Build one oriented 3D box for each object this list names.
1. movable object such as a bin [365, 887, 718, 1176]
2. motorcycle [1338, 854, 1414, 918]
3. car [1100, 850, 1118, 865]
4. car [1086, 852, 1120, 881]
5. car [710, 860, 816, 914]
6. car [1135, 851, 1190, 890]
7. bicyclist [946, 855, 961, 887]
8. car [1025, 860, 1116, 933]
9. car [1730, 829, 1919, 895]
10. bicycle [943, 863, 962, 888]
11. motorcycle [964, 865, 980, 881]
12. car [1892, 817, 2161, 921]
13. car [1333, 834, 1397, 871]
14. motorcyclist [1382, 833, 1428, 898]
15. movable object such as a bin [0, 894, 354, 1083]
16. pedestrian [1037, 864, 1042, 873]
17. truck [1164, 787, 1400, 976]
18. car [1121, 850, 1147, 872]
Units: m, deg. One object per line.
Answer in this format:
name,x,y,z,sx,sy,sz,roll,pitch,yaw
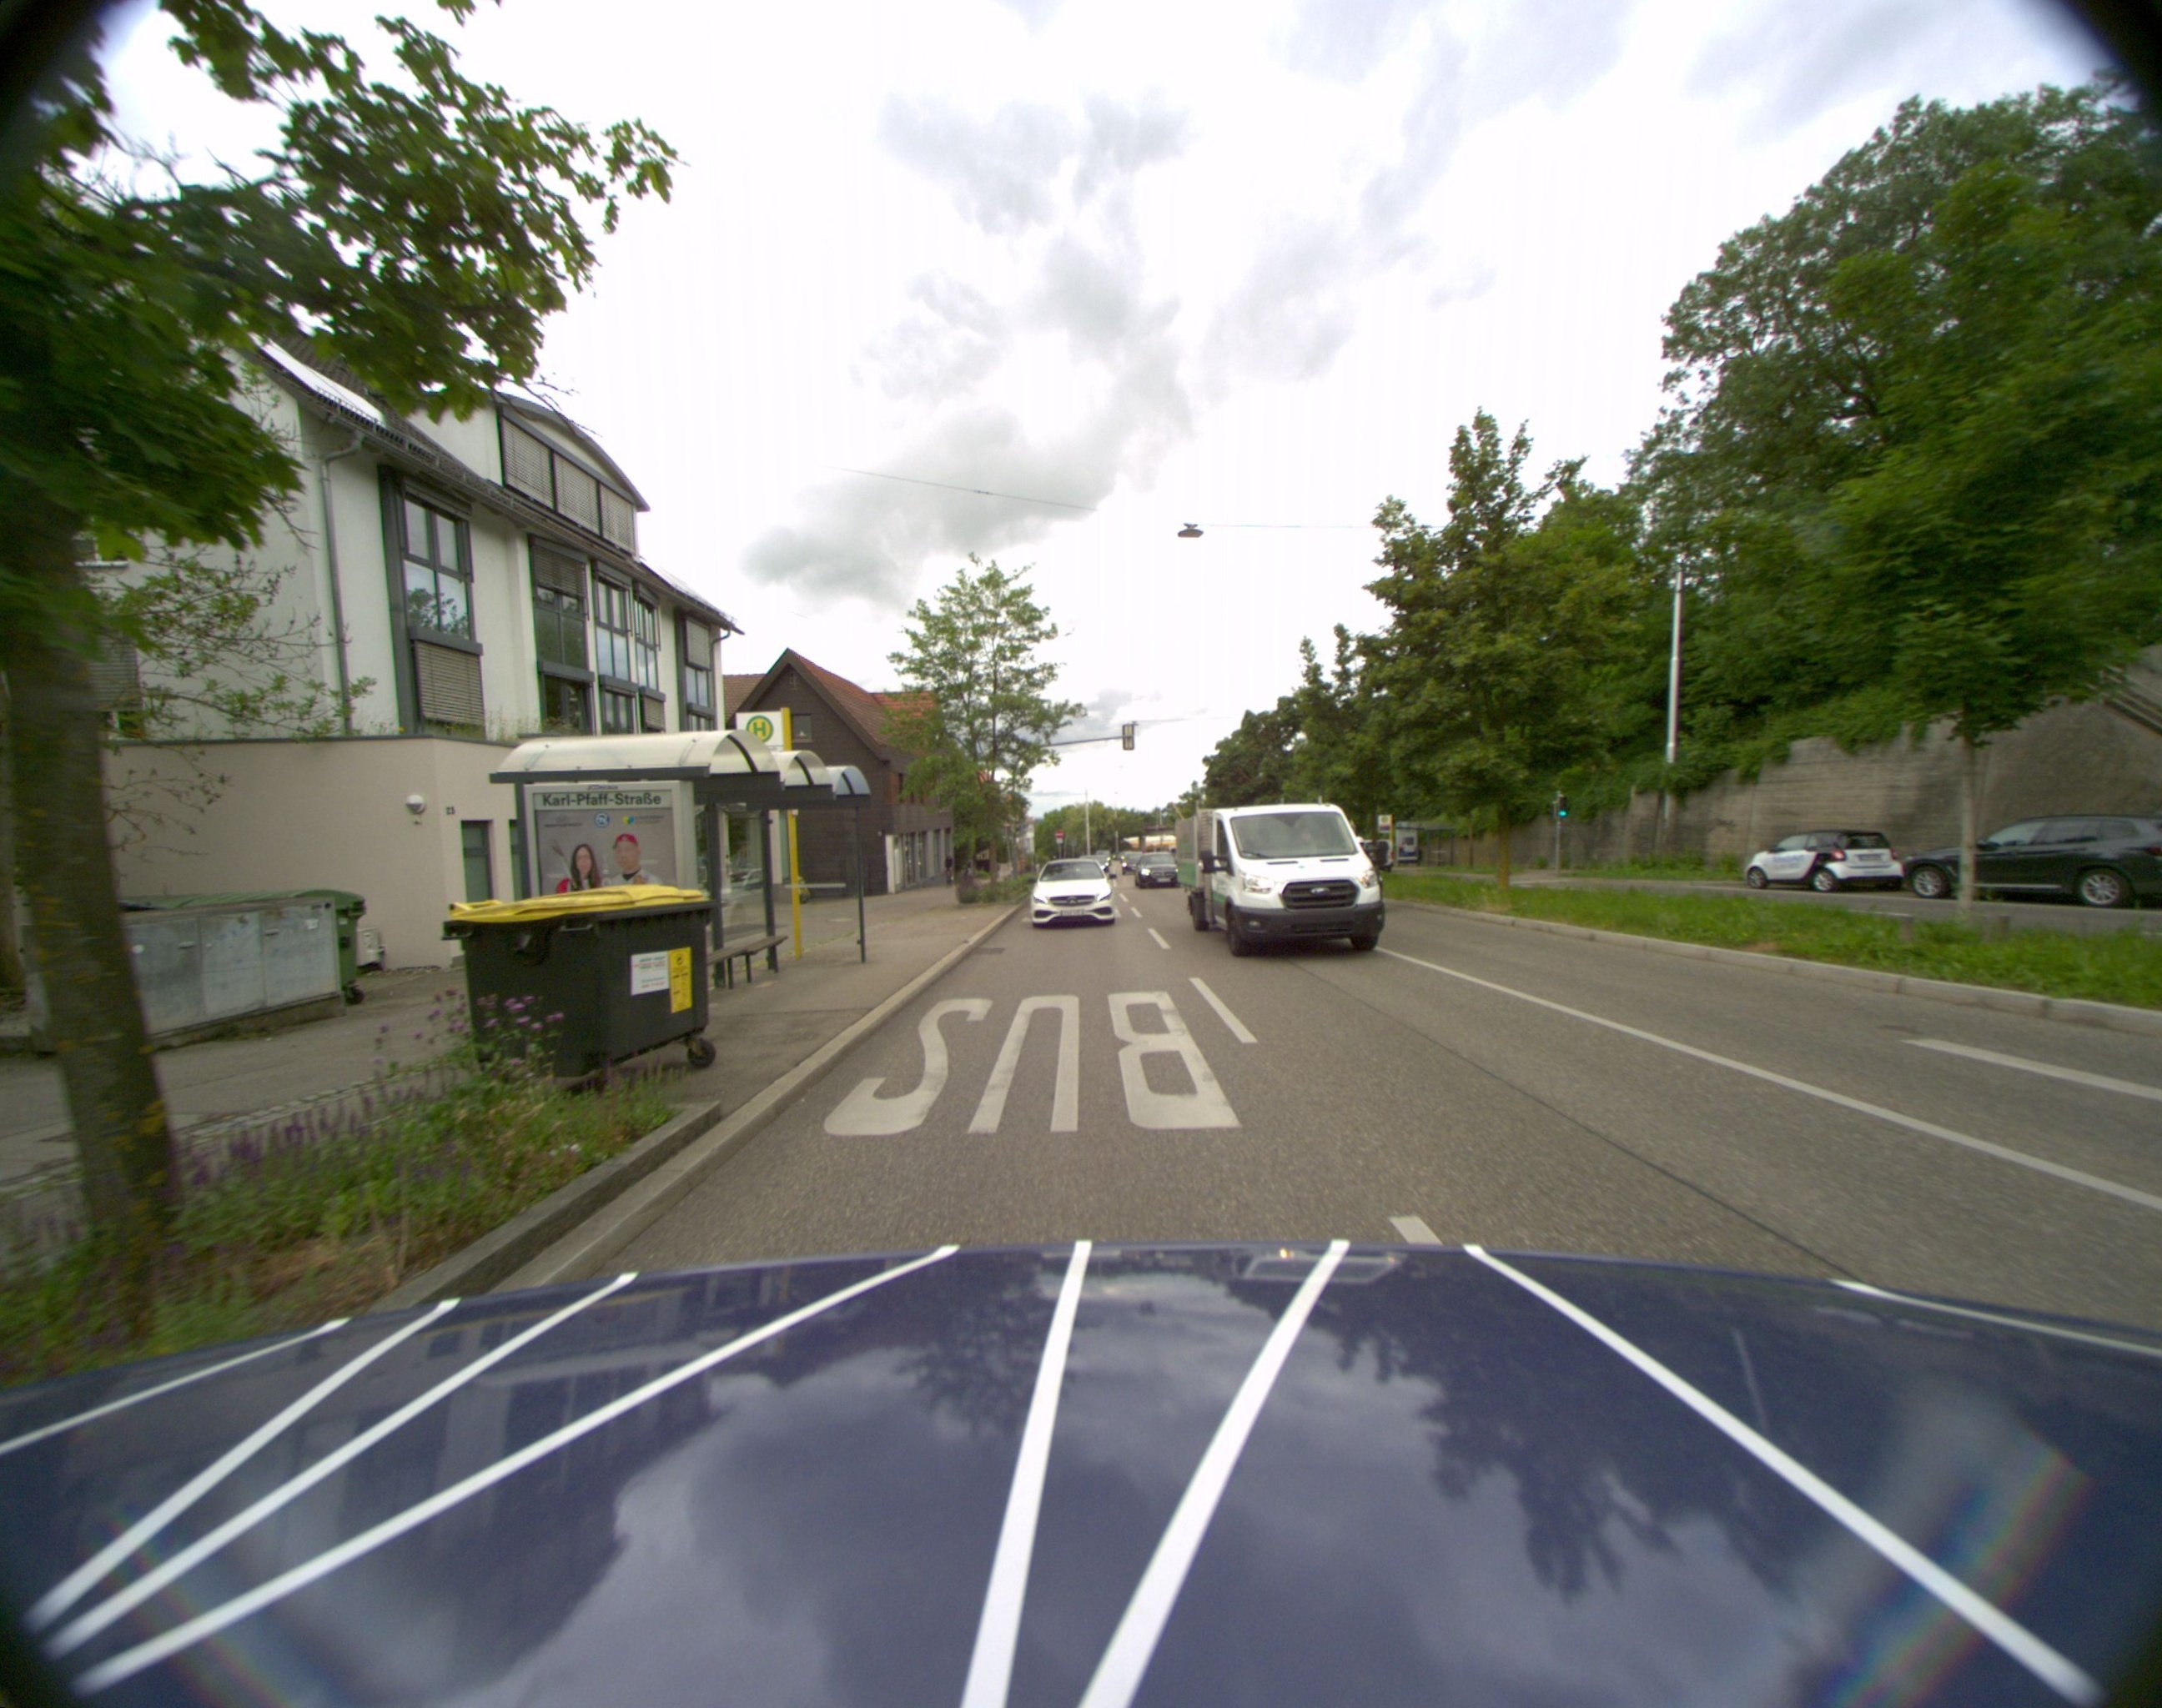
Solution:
movable object such as a bin,-3.297,0.999,4.892,1.088,1.473,1.537,-2,0,2
motorcycle,6.434,0.661,16.696,0.829,1.291,2.045,-2,0,0
car,3.417,0.407,92.011,1.776,1.783,4.003,-1,0,8
car,1.313,0.706,44.094,1.777,1.532,4.001,-3,0,3
car,-11.202,1.161,26.955,3.000,1.455,1.666,-7,-1,-9
car,3.384,0.656,32.295,1.915,1.472,4.401,-3,0,2
bicyclist,-6.683,0.866,39.759,0.539,1.623,0.947,-2,0,1
car,-0.147,0.892,17.590,1.817,1.390,4.000,-2,0,2
car,19.019,0.189,19.632,1.784,1.489,3.098,-3,0,0
bicycle,-6.680,1.092,39.562,0.572,1.254,2.039,-1,-1,1
motorcycle,-7.410,1.308,51.733,0.697,1.045,1.967,-1,0,3
car,18.589,0.197,14.325,1.974,1.647,4.533,-3,0,5
car,16.444,-0.066,44.274,1.943,1.946,5.022,-2,0,2
motorcyclist,7.259,0.261,17.042,0.684,1.410,0.723,-2,1,0
movable object such as a bin,-10.092,1.255,7.468,1.893,1.443,4.001,-2,0,3
pedestrian,-6.718,2.369,121.807,0.713,1.462,0.695,-3,0,0
truck,2.881,0.303,12.694,2.081,2.308,6.330,-2,1,-1
car,3.898,0.527,56.176,1.777,1.520,4.001,-1,0,3
